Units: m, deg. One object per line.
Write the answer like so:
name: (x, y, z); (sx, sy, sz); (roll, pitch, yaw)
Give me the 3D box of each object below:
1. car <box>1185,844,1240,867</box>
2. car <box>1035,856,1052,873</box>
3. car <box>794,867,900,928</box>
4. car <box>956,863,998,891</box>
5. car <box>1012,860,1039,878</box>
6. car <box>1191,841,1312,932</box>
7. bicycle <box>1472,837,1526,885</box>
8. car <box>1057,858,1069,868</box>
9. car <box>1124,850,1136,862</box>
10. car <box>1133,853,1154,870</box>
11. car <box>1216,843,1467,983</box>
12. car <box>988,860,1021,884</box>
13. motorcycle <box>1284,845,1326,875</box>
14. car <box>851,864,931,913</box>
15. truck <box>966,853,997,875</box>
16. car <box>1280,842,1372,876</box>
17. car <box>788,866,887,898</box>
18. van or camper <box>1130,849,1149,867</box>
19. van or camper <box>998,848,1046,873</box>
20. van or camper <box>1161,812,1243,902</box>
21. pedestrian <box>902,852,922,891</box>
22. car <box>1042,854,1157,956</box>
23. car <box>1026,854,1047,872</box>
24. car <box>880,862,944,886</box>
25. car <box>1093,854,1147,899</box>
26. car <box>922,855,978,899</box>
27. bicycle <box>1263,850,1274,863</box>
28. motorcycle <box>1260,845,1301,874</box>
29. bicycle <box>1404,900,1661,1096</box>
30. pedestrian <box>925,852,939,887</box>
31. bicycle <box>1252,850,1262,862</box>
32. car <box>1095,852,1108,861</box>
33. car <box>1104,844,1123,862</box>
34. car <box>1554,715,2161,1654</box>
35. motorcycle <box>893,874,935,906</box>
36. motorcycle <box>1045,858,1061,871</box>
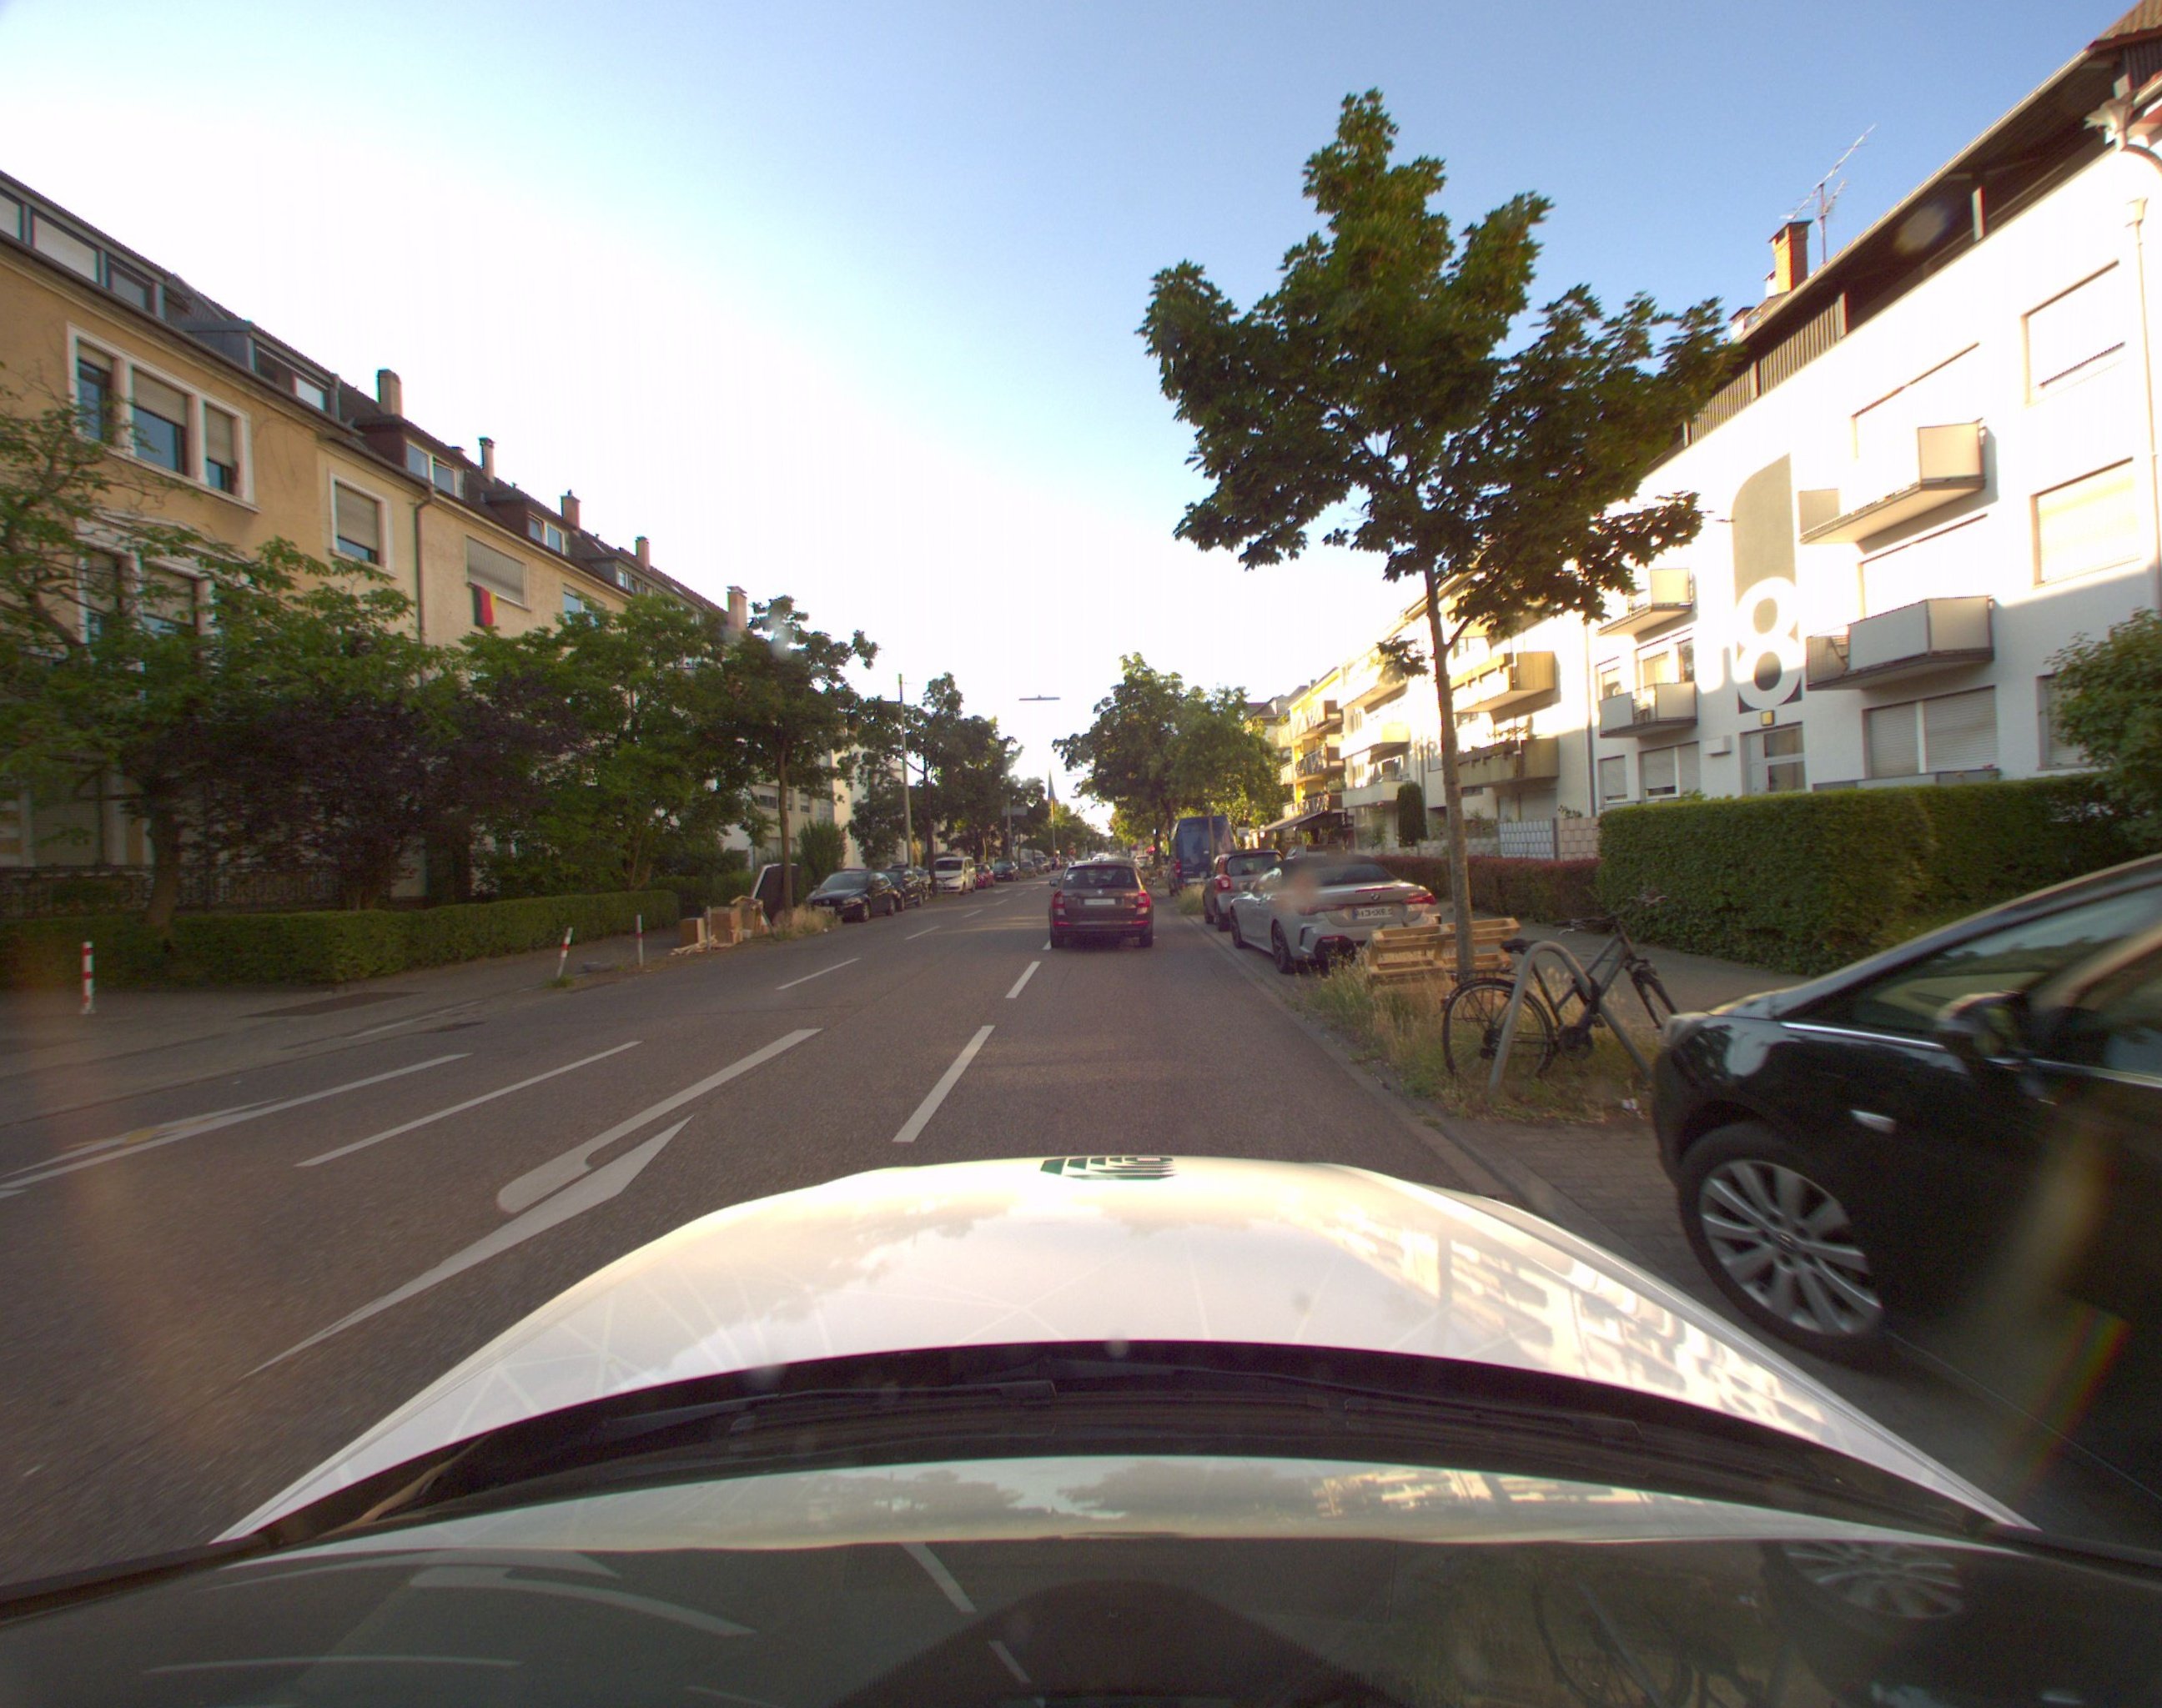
car: (11.877, 0.128, 73.366); (4.556, 1.892, 1.898); (-3, 0, -26)
car: (-4.061, 1.091, 88.500); (1.501, 1.757, 3.695); (-2, 0, 2)
car: (-6.917, 1.229, 24.540); (1.743, 1.502, 4.199); (-2, 0, 2)
car: (-5.975, 1.279, 47.165); (1.710, 1.421, 3.789); (-2, 0, 2)
car: (-4.778, 1.273, 70.652); (1.747, 1.420, 4.429); (-2, 0, 3)
car: (3.475, 0.634, 17.280); (1.767, 1.642, 3.757); (-2, -1, 1)
bicycle: (9.915, 0.154, 19.376); (0.490, 1.089, 1.545); (-2, 0, 2)
car: (-2.789, 1.351, 125.236); (1.658, 1.432, 3.277); (-2, 0, 2)
car: (7.970, 0.258, 133.284); (1.723, 1.815, 3.951); (-2, 0, 1)
car: (5.608, 0.658, 73.364); (1.813, 1.413, 4.116); (-2, 0, 4)
car: (3.314, 0.646, 11.486); (1.915, 1.486, 4.743); (-2, 0, -1)
car: (-5.517, 1.273, 59.243); (1.710, 1.497, 4.250); (-2, 0, 2)
motorcycle: (12.781, 0.357, 46.564); (2.182, 1.621, 0.892); (-2, 0, 8)
car: (-6.790, 1.194, 29.487); (1.743, 1.502, 3.981); (-2, 0, 2)
truck: (-10.427, 1.051, 85.469); (2.902, 2.093, 1.547); (-2, 0, 1)
car: (12.154, 0.230, 40.587); (3.976, 1.462, 1.824); (-3, 0, -2)
car: (-12.587, 1.434, 42.394); (4.713, 1.362, 1.993); (-3, 0, -11)
van or camper: (6.966, 0.457, 97.488); (1.986, 2.013, 4.002); (-2, 0, 2)
van or camper: (-9.820, 1.045, 135.248); (7.615, 3.874, 2.000); (-2, 0, 0)
van or camper: (4.001, 0.118, 27.956); (2.059, 2.675, 5.993); (-2, -1, 2)
pedestrian: (-8.990, 0.913, 43.282); (0.764, 2.013, 0.976); (-2, 0, 2)
car: (0.418, 0.791, 14.603); (1.722, 1.493, 3.955); (-2, 0, 4)
car: (-4.536, 0.943, 83.843); (1.743, 1.740, 3.593); (-2, 0, 2)
car: (-11.667, 1.387, 56.421); (3.976, 1.479, 1.999); (-2, 0, -2)
car: (1.419, 0.807, 30.850); (1.725, 1.493, 3.948); (-2, 0, -1)
car: (-6.351, 1.053, 39.948); (1.763, 1.919, 4.462); (-2, 0, 2)
bicycle: (14.332, 0.181, 62.388); (0.341, 0.950, 1.580); (-5, 0, -3)
motorcycle: (11.625, 0.322, 47.508); (2.182, 1.621, 0.733); (-2, 0, 8)
bicycle: (2.845, 0.870, 5.149); (1.477, 1.059, 0.410); (-3, 0, -11)
pedestrian: (-8.803, 0.893, 48.241); (0.624, 2.013, 0.616); (-2, 0, 1)
bicycle: (13.633, 0.164, 63.002); (0.341, 0.950, 1.580); (0, -1, -3)
car: (4.286, 0.423, 172.294); (1.863, 1.757, 4.195); (-2, 0, 14)
car: (3.205, -0.144, 80.241); (1.725, 1.651, 3.544); (-2, 0, 2)
car: (2.725, 0.553, 1.140); (1.725, 1.651, 4.294); (-2, 0, 2)
motorcycle: (-6.682, 1.427, 32.722); (0.436, 1.192, 1.718); (-2, 0, 40)
motorcycle: (-3.429, 1.226, 98.851); (0.771, 1.512, 2.006); (-3, 0, -40)
